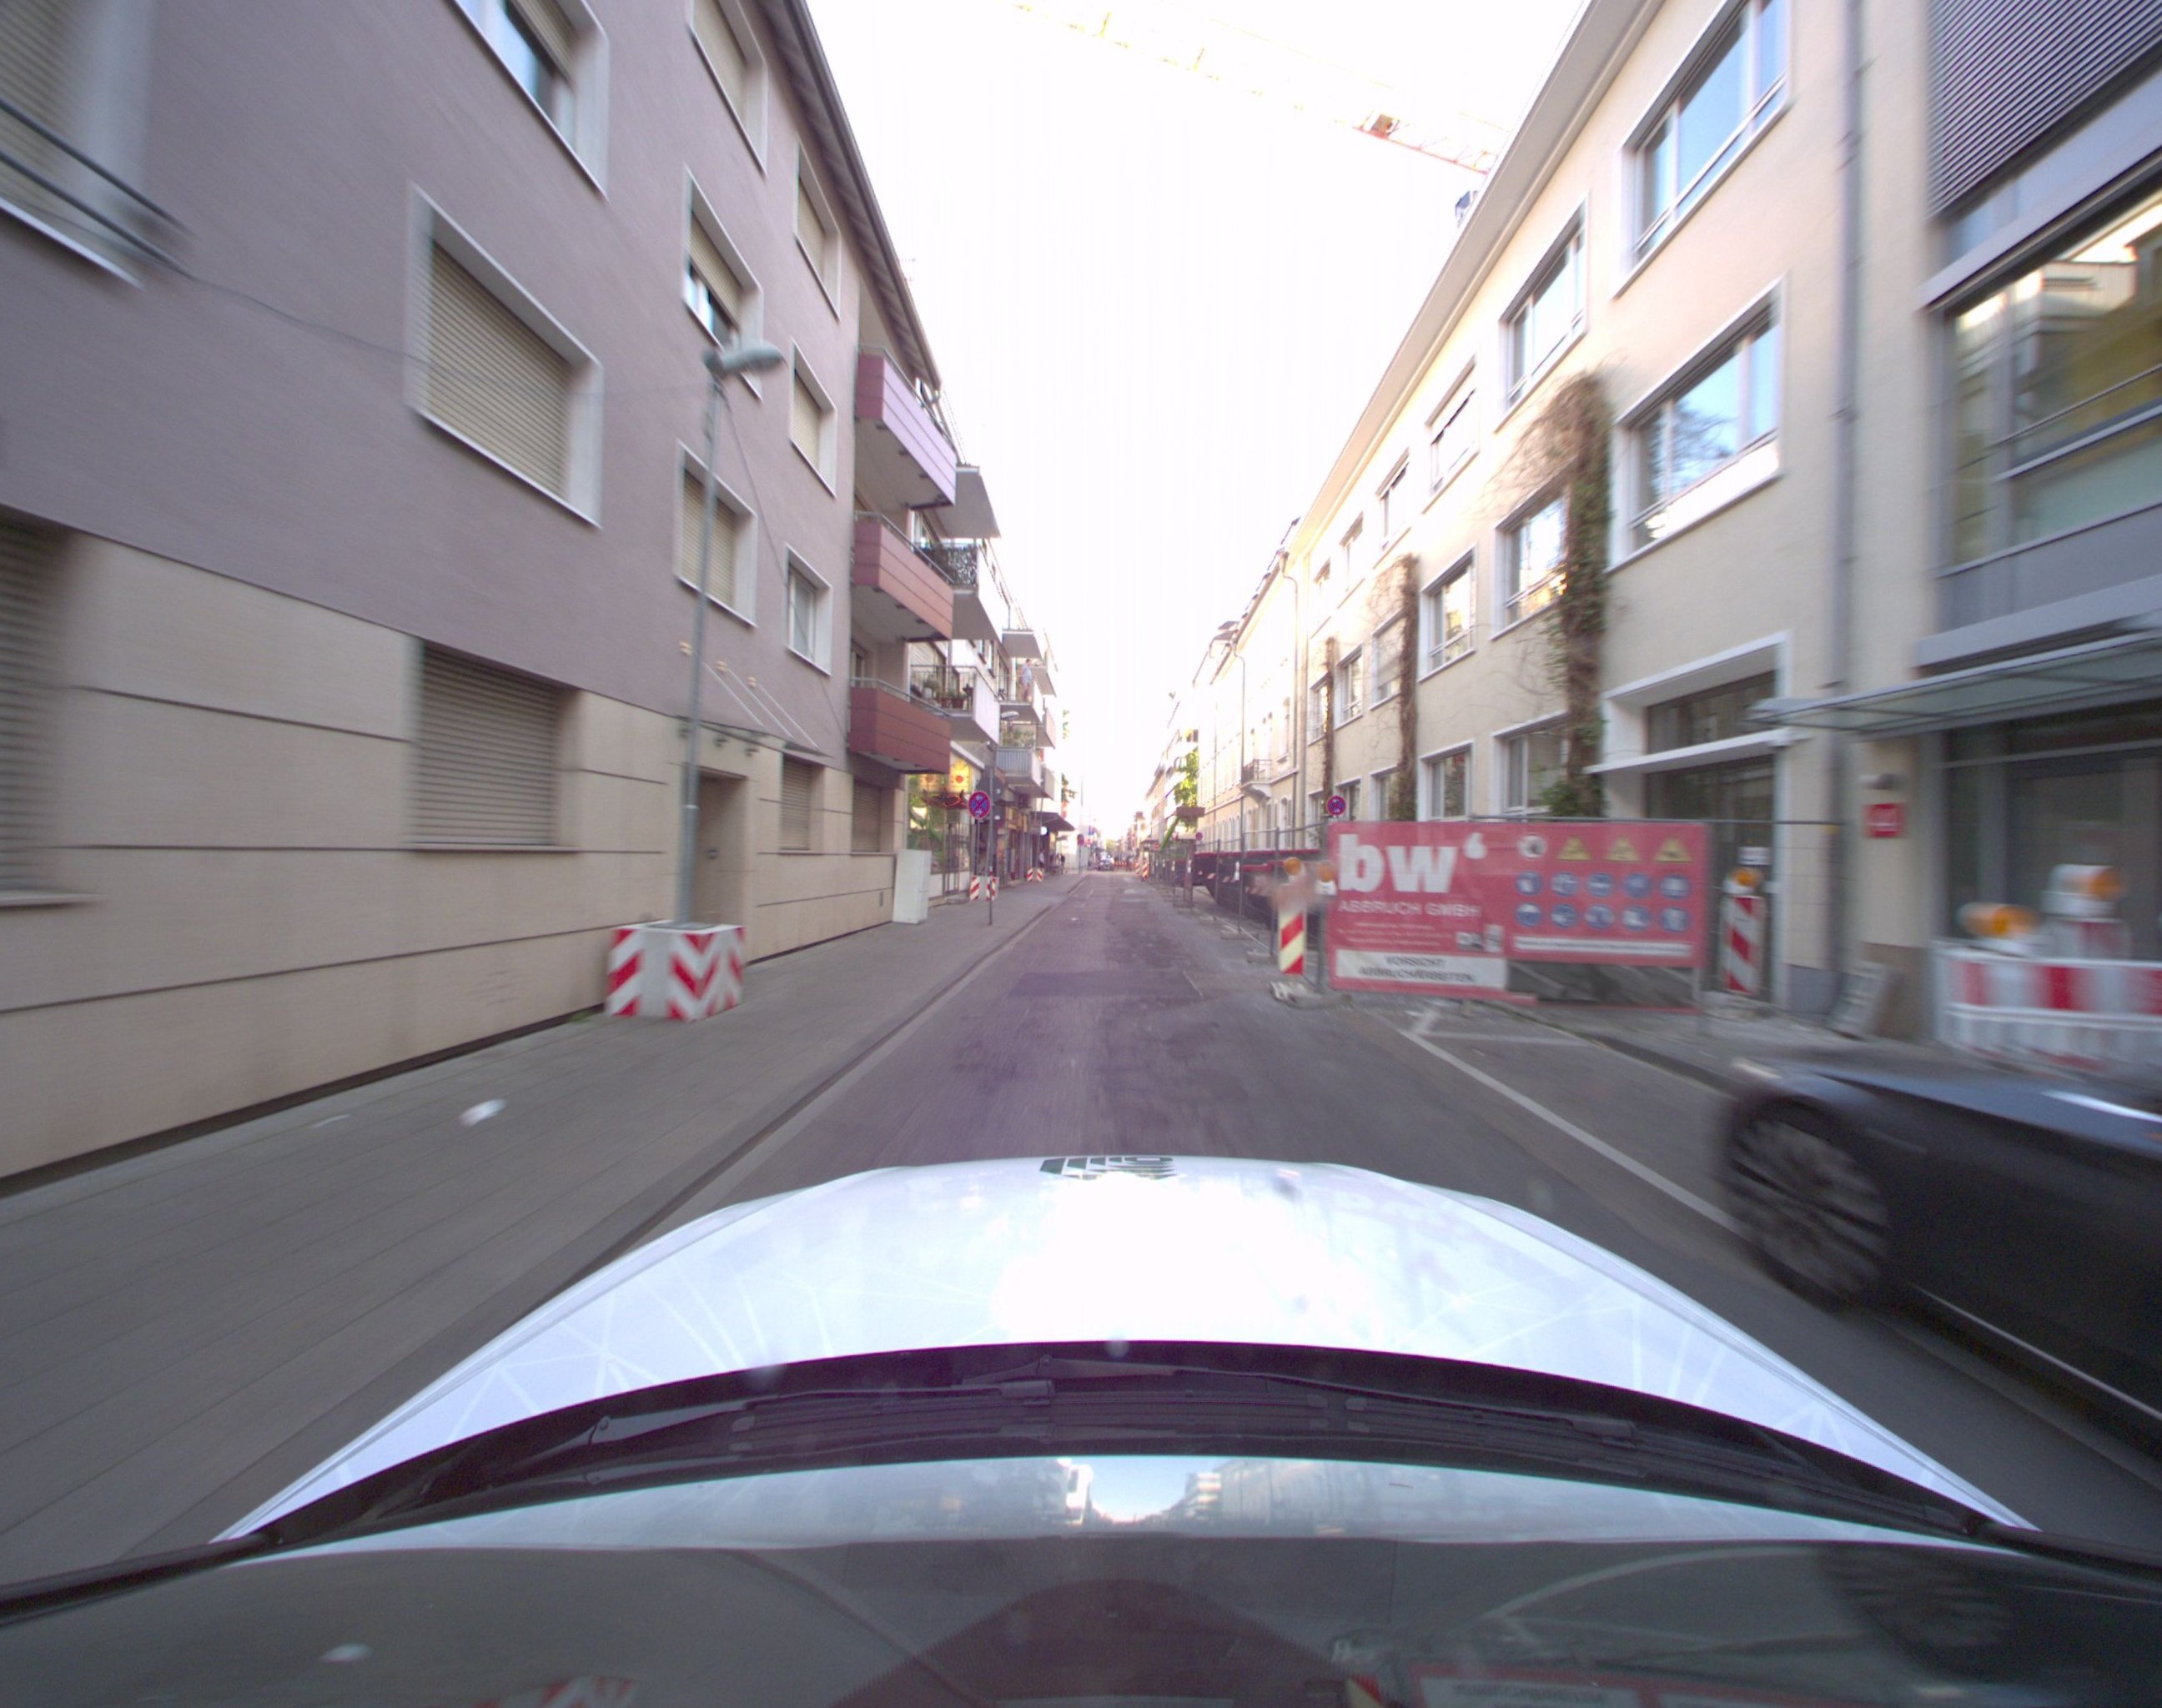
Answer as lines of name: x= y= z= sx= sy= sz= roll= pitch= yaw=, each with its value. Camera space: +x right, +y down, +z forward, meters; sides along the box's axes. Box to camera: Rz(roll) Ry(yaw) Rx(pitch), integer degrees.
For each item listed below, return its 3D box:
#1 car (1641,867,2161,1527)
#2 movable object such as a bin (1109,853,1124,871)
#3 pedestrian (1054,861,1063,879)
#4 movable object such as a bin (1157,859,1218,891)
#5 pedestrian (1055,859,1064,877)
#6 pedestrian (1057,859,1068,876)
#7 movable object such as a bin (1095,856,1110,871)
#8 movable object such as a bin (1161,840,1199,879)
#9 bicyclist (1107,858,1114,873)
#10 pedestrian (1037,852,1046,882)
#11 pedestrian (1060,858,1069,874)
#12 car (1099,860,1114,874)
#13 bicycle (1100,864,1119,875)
car: x=3.363 y=0.836 z=1.431 sx=1.780 sy=1.471 sz=4.448 roll=3 pitch=0 yaw=2
movable object such as a bin: x=5.278 y=1.204 z=122.061 sx=2.148 sy=2.664 sz=4.574 roll=1 pitch=0 yaw=2
pedestrian: x=-1.677 y=1.181 z=60.834 sx=0.571 sy=1.275 sz=0.714 roll=3 pitch=0 yaw=2
movable object such as a bin: x=6.195 y=1.183 z=48.408 sx=2.726 sy=1.638 sz=7.554 roll=1 pitch=0 yaw=1
pedestrian: x=-1.632 y=1.057 z=61.727 sx=0.571 sy=1.275 sz=0.714 roll=3 pitch=0 yaw=2
pedestrian: x=-1.432 y=1.065 z=62.810 sx=0.699 sy=1.275 sz=0.714 roll=3 pitch=0 yaw=2
movable object such as a bin: x=3.006 y=1.279 z=112.005 sx=1.985 sy=2.014 sz=4.003 roll=0 pitch=0 yaw=3
movable object such as a bin: x=7.603 y=0.415 z=62.894 sx=2.595 sy=2.839 sz=4.452 roll=0 pitch=0 yaw=2
bicyclist: x=3.004 y=1.173 z=82.709 sx=0.722 sy=1.441 sz=0.506 roll=1 pitch=-1 yaw=0
pedestrian: x=-2.464 y=0.779 z=50.187 sx=0.529 sy=1.834 sz=0.562 roll=1 pitch=0 yaw=-4
pedestrian: x=-1.336 y=0.987 z=67.123 sx=0.708 sy=1.275 sz=0.705 roll=1 pitch=0 yaw=2
car: x=2.973 y=1.528 z=96.805 sx=1.624 sy=1.550 sz=3.140 roll=0 pitch=0 yaw=-1
bicycle: x=2.925 y=1.585 z=82.743 sx=1.885 sy=1.038 sz=0.409 roll=1 pitch=-1 yaw=-1
